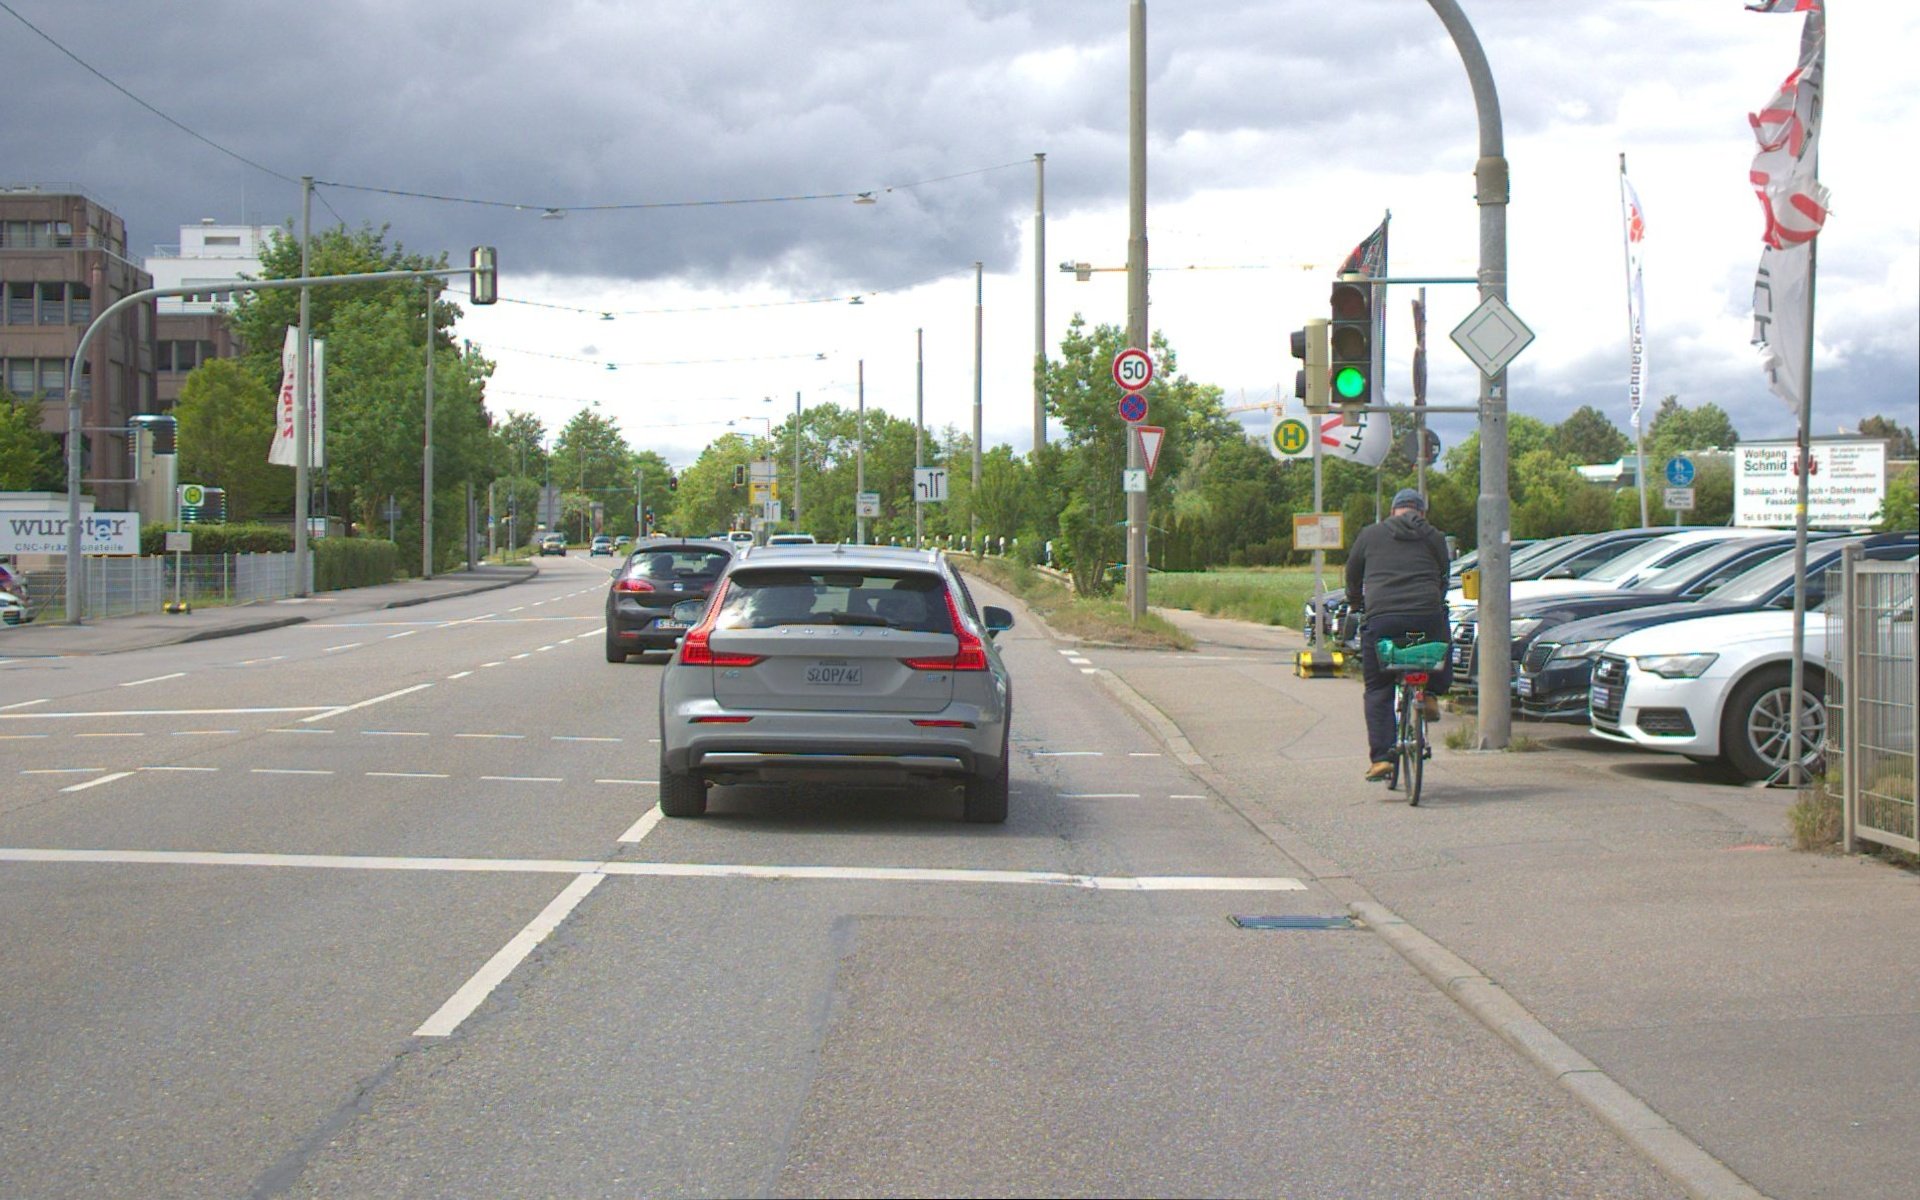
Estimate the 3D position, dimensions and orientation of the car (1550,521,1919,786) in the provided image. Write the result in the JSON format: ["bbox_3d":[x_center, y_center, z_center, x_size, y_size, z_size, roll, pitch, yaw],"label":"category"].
[{"bbox_3d":[6.110,0.308,20.708,4.696,1.488,2.046,1,1,-1],"label":"car"}]

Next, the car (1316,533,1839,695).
[{"bbox_3d":[6.156,0.121,34.698,4.852,1.425,2.038,2,1,0],"label":"car"}]

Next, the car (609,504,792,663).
[{"bbox_3d":[-3.027,-0.195,40.529,1.993,1.711,4.000,2,0,-3],"label":"car"}]

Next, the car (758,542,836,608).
[{"bbox_3d":[-4.425,-0.667,93.710,1.993,1.689,4.000,2,0,-2],"label":"car"}]

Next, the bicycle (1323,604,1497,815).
[{"bbox_3d":[2.513,0.588,19.380,0.638,1.059,1.977,-3,1,-1],"label":"bicycle"}]

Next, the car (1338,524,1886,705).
[{"bbox_3d":[5.989,0.110,32.005,4.676,1.488,2.015,2,1,0],"label":"car"}]

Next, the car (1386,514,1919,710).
[{"bbox_3d":[6.174,0.092,29.272,4.800,1.475,2.032,2,1,0],"label":"car"}]

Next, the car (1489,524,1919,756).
[{"bbox_3d":[6.141,0.260,23.586,4.659,1.488,2.035,1,1,-1],"label":"car"}]

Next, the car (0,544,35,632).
[{"bbox_3d":[-17.520,0.002,56.313,4.222,1.382,1.985,-6,0,-6],"label":"car"}]

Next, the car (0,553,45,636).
[{"bbox_3d":[-17.980,0.075,59.020,3.987,1.365,1.848,-6,0,-3],"label":"car"}]

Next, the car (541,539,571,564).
[{"bbox_3d":[-29.431,-3.521,250.707,1.881,1.711,4.000,2,0,-3],"label":"car"}]

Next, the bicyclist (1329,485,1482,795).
[{"bbox_3d":[2.493,0.212,19.306,0.638,1.670,0.890,-3,1,-1],"label":"bicyclist"}]

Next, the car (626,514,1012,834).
[{"bbox_3d":[-0.704,0.368,19.317,1.895,1.549,4.000,2,0,0],"label":"car"}]

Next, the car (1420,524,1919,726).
[{"bbox_3d":[5.906,0.177,26.465,4.368,1.399,1.989,2,1,-2],"label":"car"}]
